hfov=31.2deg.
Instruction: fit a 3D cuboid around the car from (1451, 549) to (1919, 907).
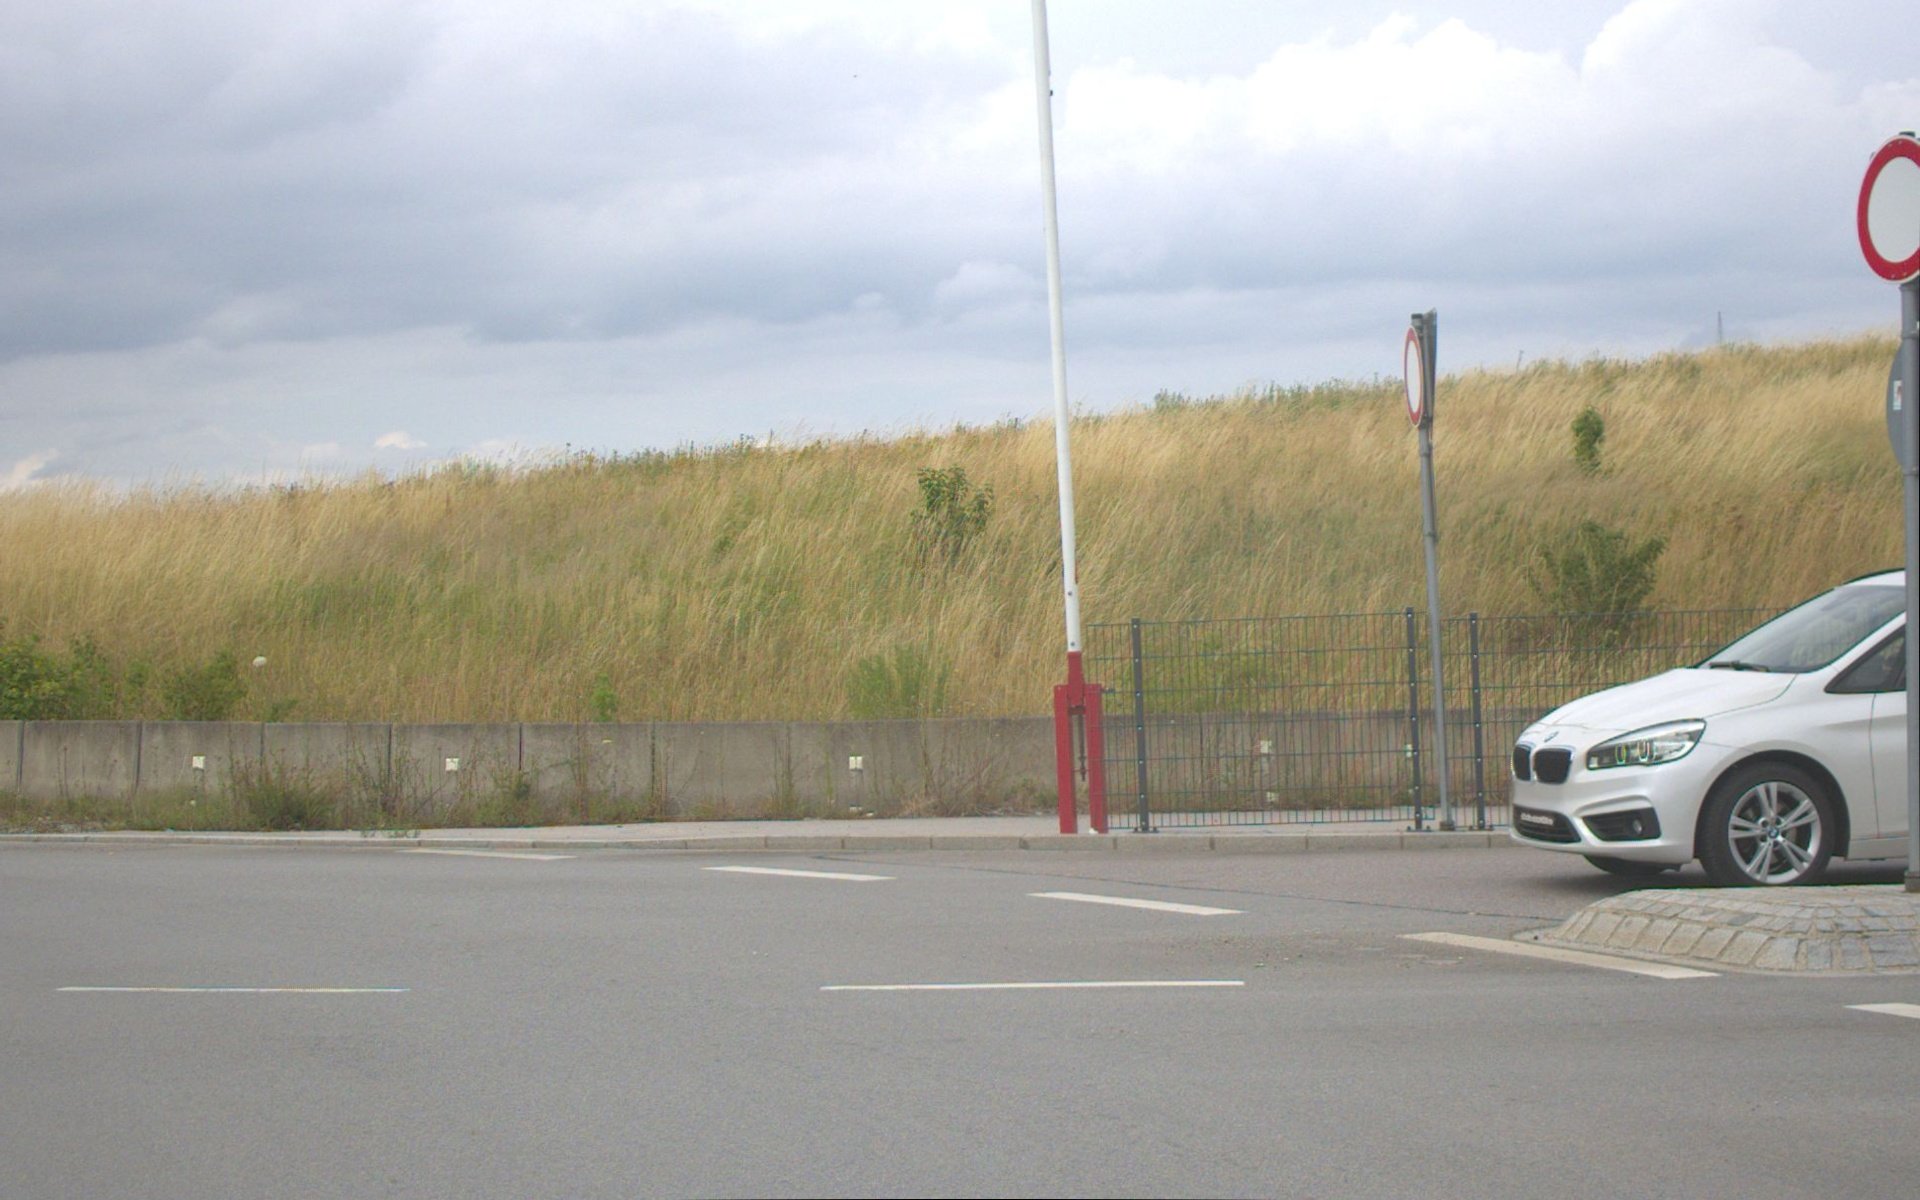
[{"bbox_3d":[4.822,0.562,16.933,4.412,1.623,1.785,0,1,-11],"label":"car"}]
